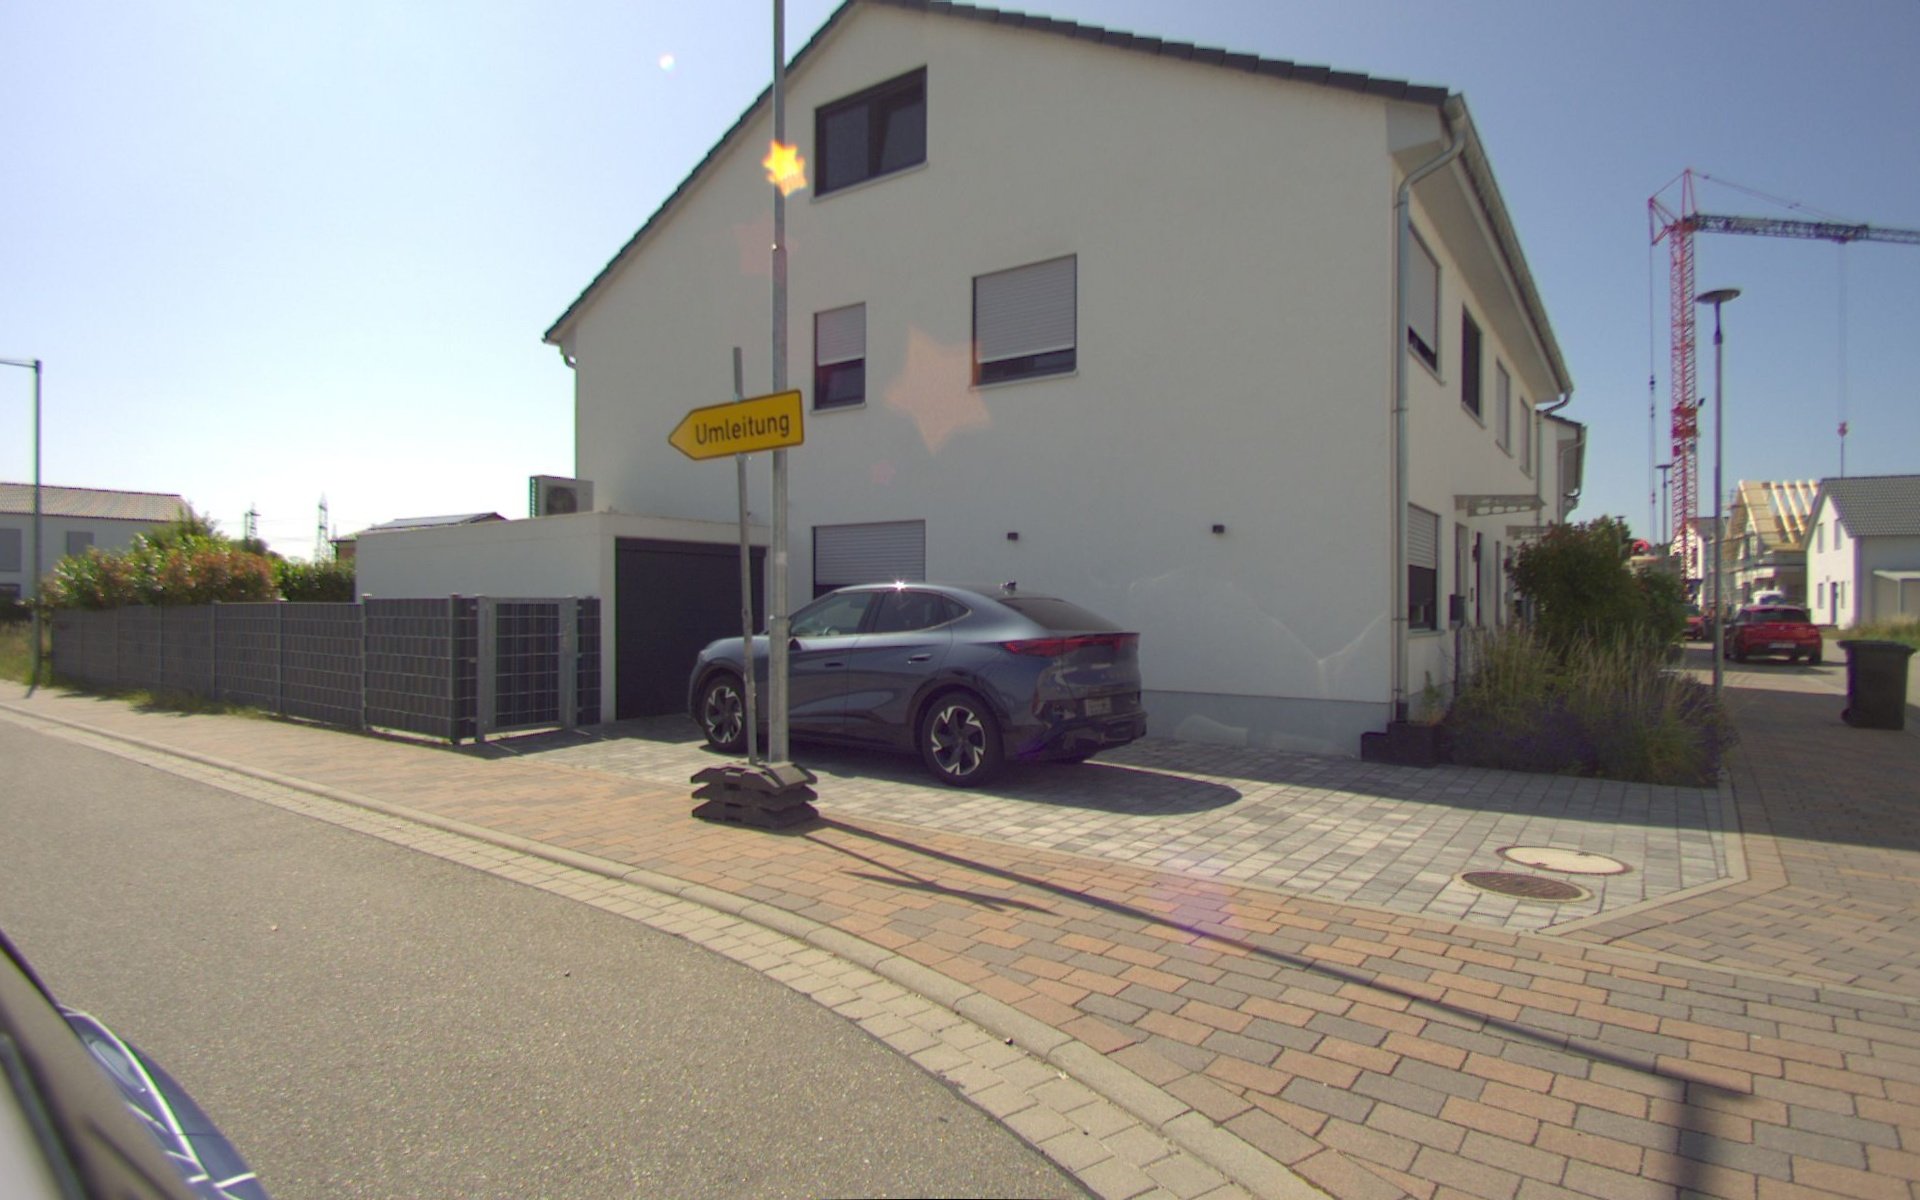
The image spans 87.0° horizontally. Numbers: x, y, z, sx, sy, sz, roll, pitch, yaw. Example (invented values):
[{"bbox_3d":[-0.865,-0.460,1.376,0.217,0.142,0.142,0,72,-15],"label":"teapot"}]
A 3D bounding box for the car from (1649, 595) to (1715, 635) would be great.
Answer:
[{"bbox_3d":[30.936,0.632,43.442,1.795,1.630,3.641,-1,0,28],"label":"car"}]

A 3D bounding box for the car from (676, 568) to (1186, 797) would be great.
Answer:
[{"bbox_3d":[-0.394,0.608,9.073,4.344,1.570,1.936,-1,-2,37],"label":"car"}]

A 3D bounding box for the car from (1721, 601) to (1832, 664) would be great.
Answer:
[{"bbox_3d":[21.279,0.795,26.532,1.907,1.490,3.954,-1,0,34],"label":"car"}]

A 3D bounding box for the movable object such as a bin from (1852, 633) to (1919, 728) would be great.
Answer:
[{"bbox_3d":[11.222,0.944,12.046,0.822,1.072,0.583,-1,0,35],"label":"movable object such as a bin"}]
